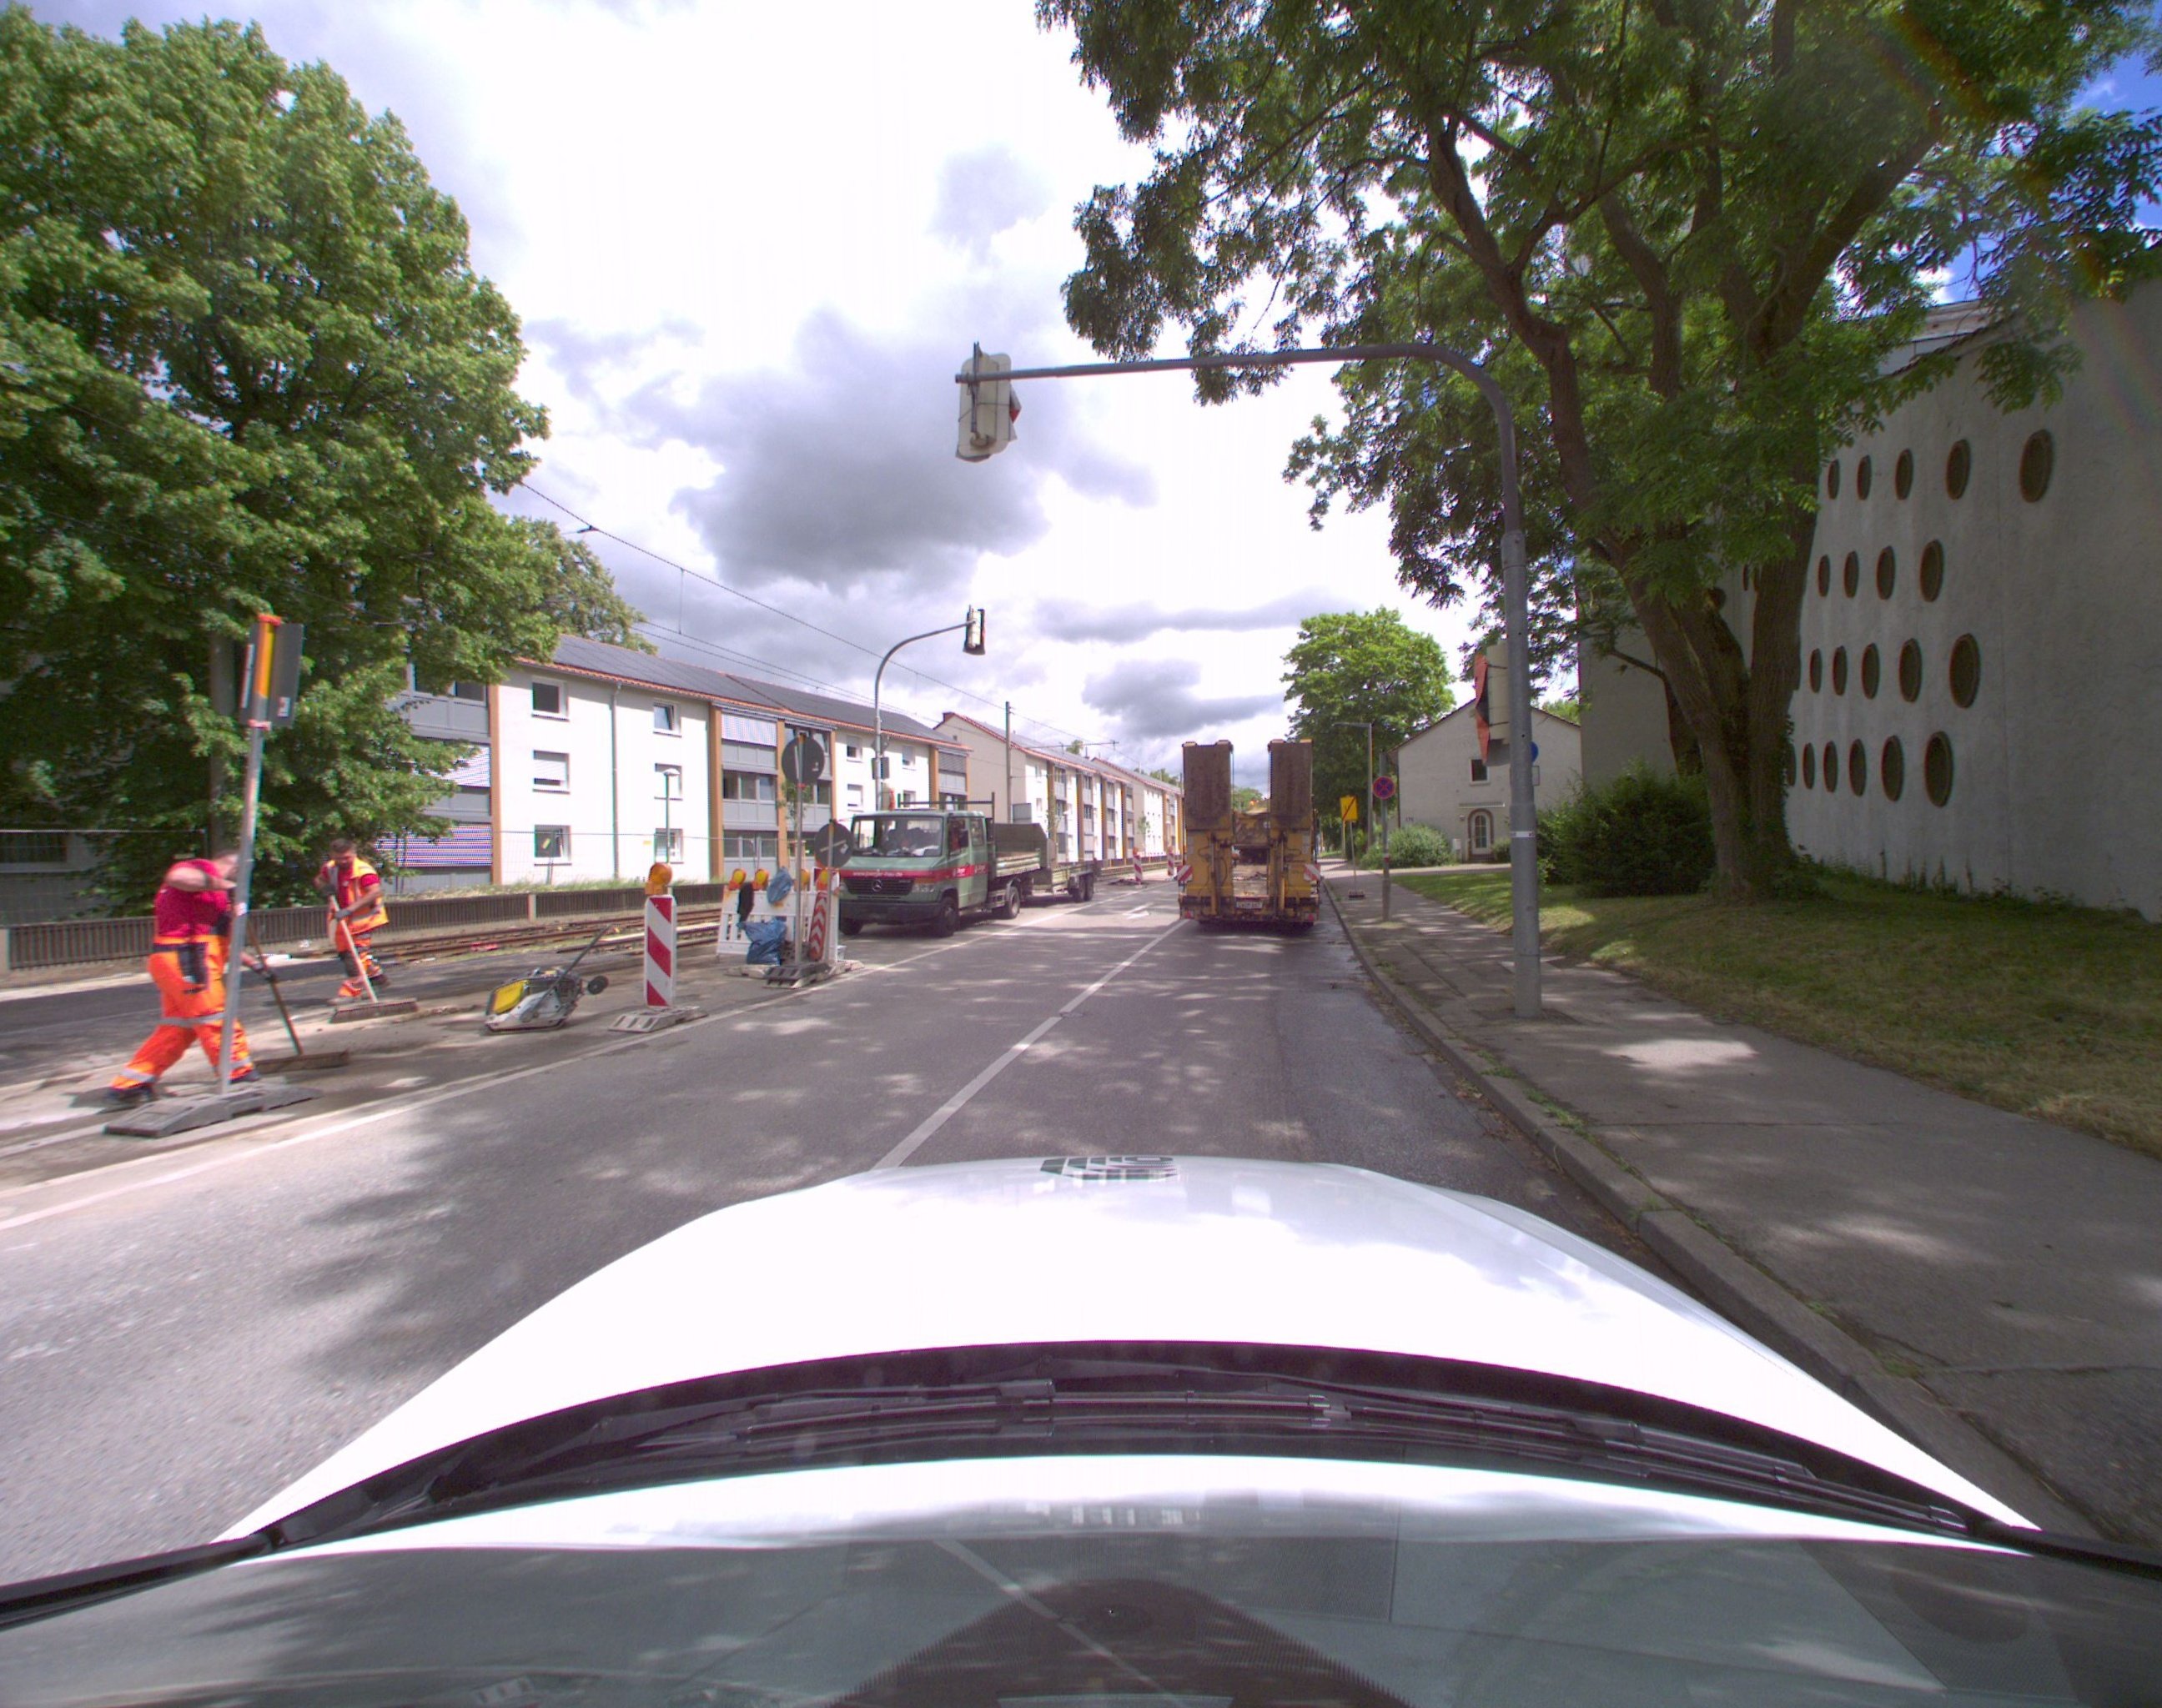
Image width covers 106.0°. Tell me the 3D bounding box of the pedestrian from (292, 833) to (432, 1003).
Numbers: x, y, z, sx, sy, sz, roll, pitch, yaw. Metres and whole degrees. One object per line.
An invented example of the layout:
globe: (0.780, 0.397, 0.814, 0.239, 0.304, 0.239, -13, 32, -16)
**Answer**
pedestrian: (-7.439, 0.638, 8.472, 0.704, 1.668, 0.826, 0, -2, -7)

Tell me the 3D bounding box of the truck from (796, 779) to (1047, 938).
truck: (-2.966, 0.054, 17.344, 2.642, 2.725, 6.422, 0, 0, 15)

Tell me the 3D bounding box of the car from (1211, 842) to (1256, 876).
car: (7.928, 0.259, 42.201, 1.828, 1.618, 4.260, -2, 0, 16)

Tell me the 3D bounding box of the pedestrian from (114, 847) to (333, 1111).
pedestrian: (-5.562, 0.727, 5.358, 0.767, 1.551, 0.892, 0, 0, -30)

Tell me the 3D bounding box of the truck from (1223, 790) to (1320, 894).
truck: (6.937, -0.412, 28.853, 2.895, 3.167, 7.713, 1, 1, 16)

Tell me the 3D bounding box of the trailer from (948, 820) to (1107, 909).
trailer: (-1.286, 0.232, 23.470, 2.642, 2.214, 6.273, 0, 0, 15)

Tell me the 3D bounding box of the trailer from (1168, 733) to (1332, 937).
trailer: (4.366, -0.426, 19.792, 2.802, 3.523, 11.096, 1, 1, 15)
